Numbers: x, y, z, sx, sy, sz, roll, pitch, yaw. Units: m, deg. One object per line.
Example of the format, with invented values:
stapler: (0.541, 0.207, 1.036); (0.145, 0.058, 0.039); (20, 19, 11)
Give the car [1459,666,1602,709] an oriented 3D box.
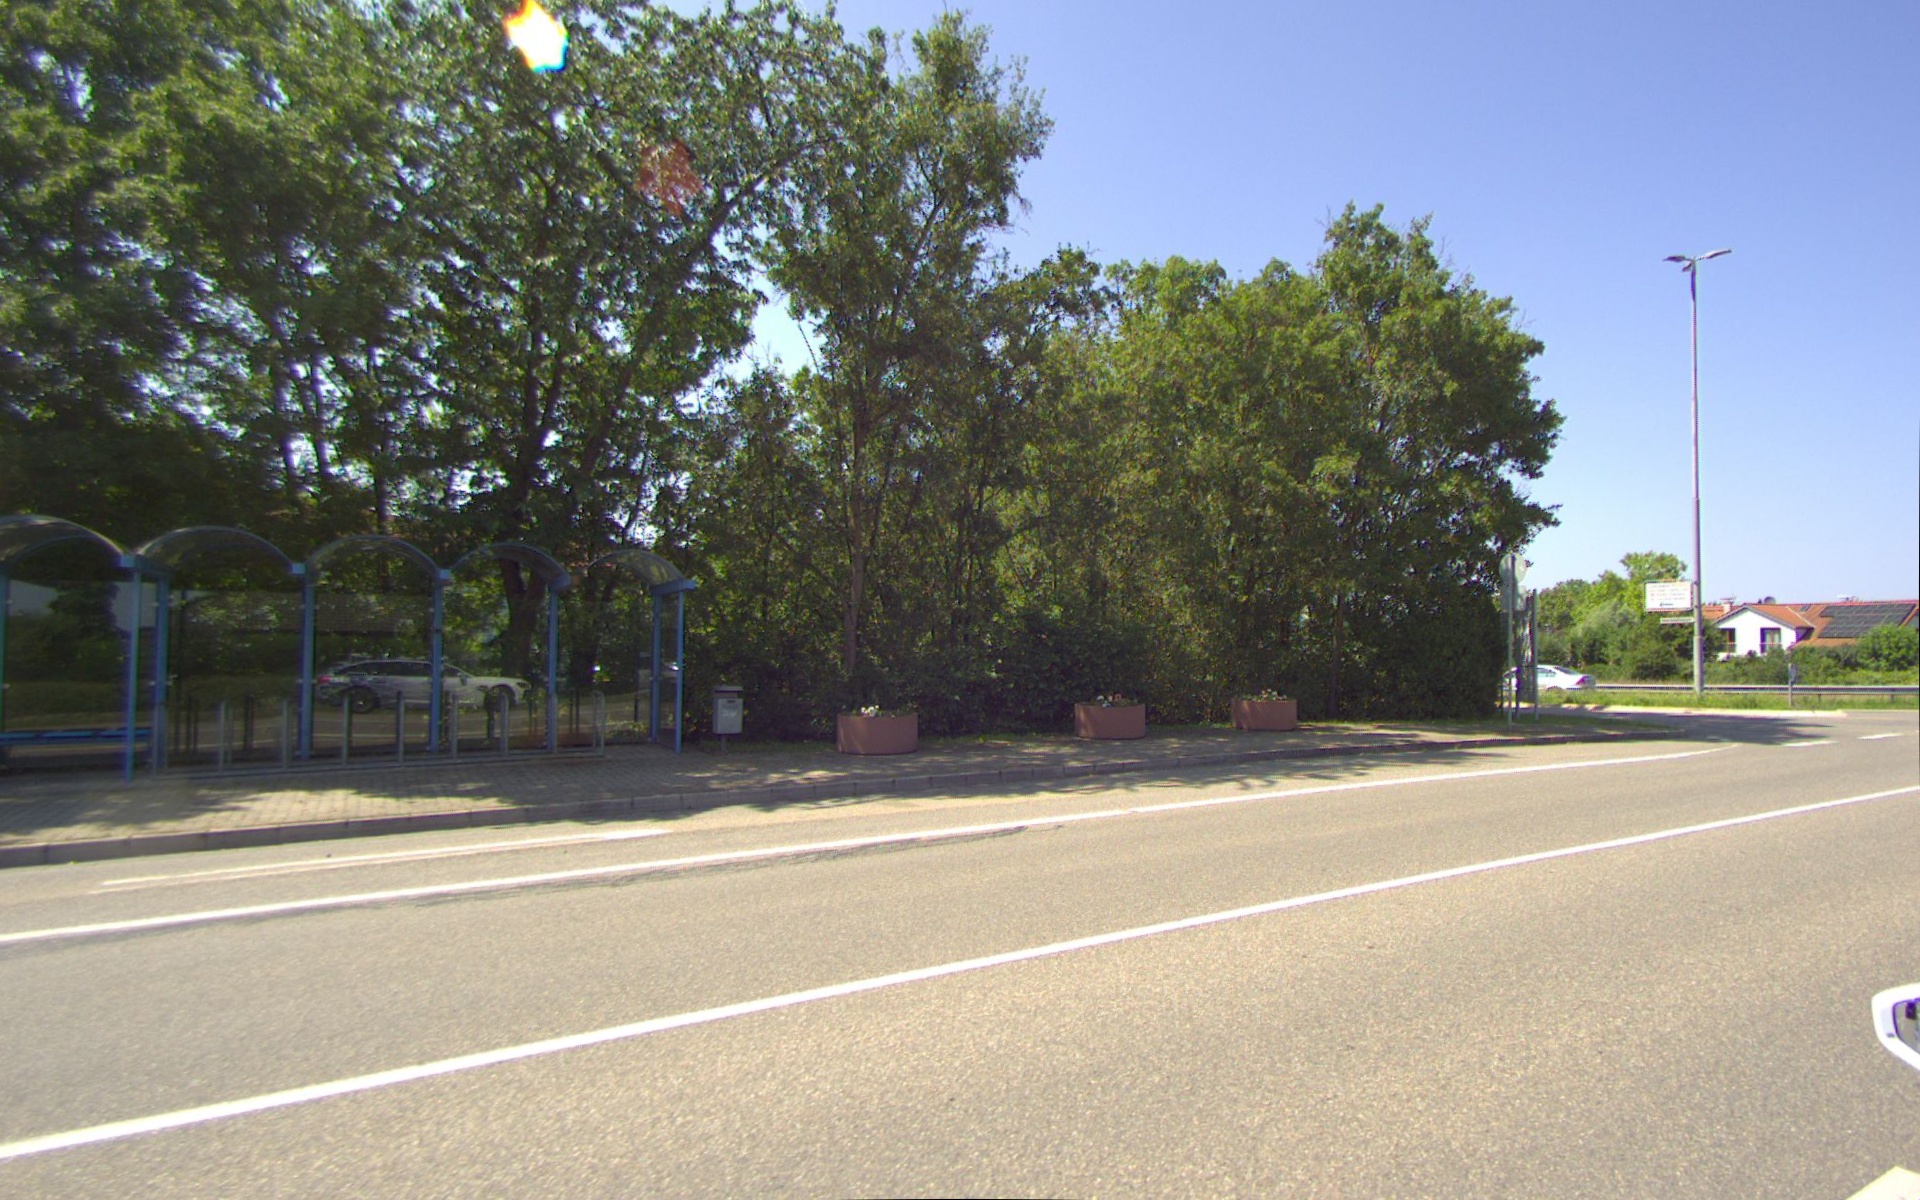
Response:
car: (21.278, 3.226, 37.588); (1.630, 1.490, 4.360); (3, -4, -43)
